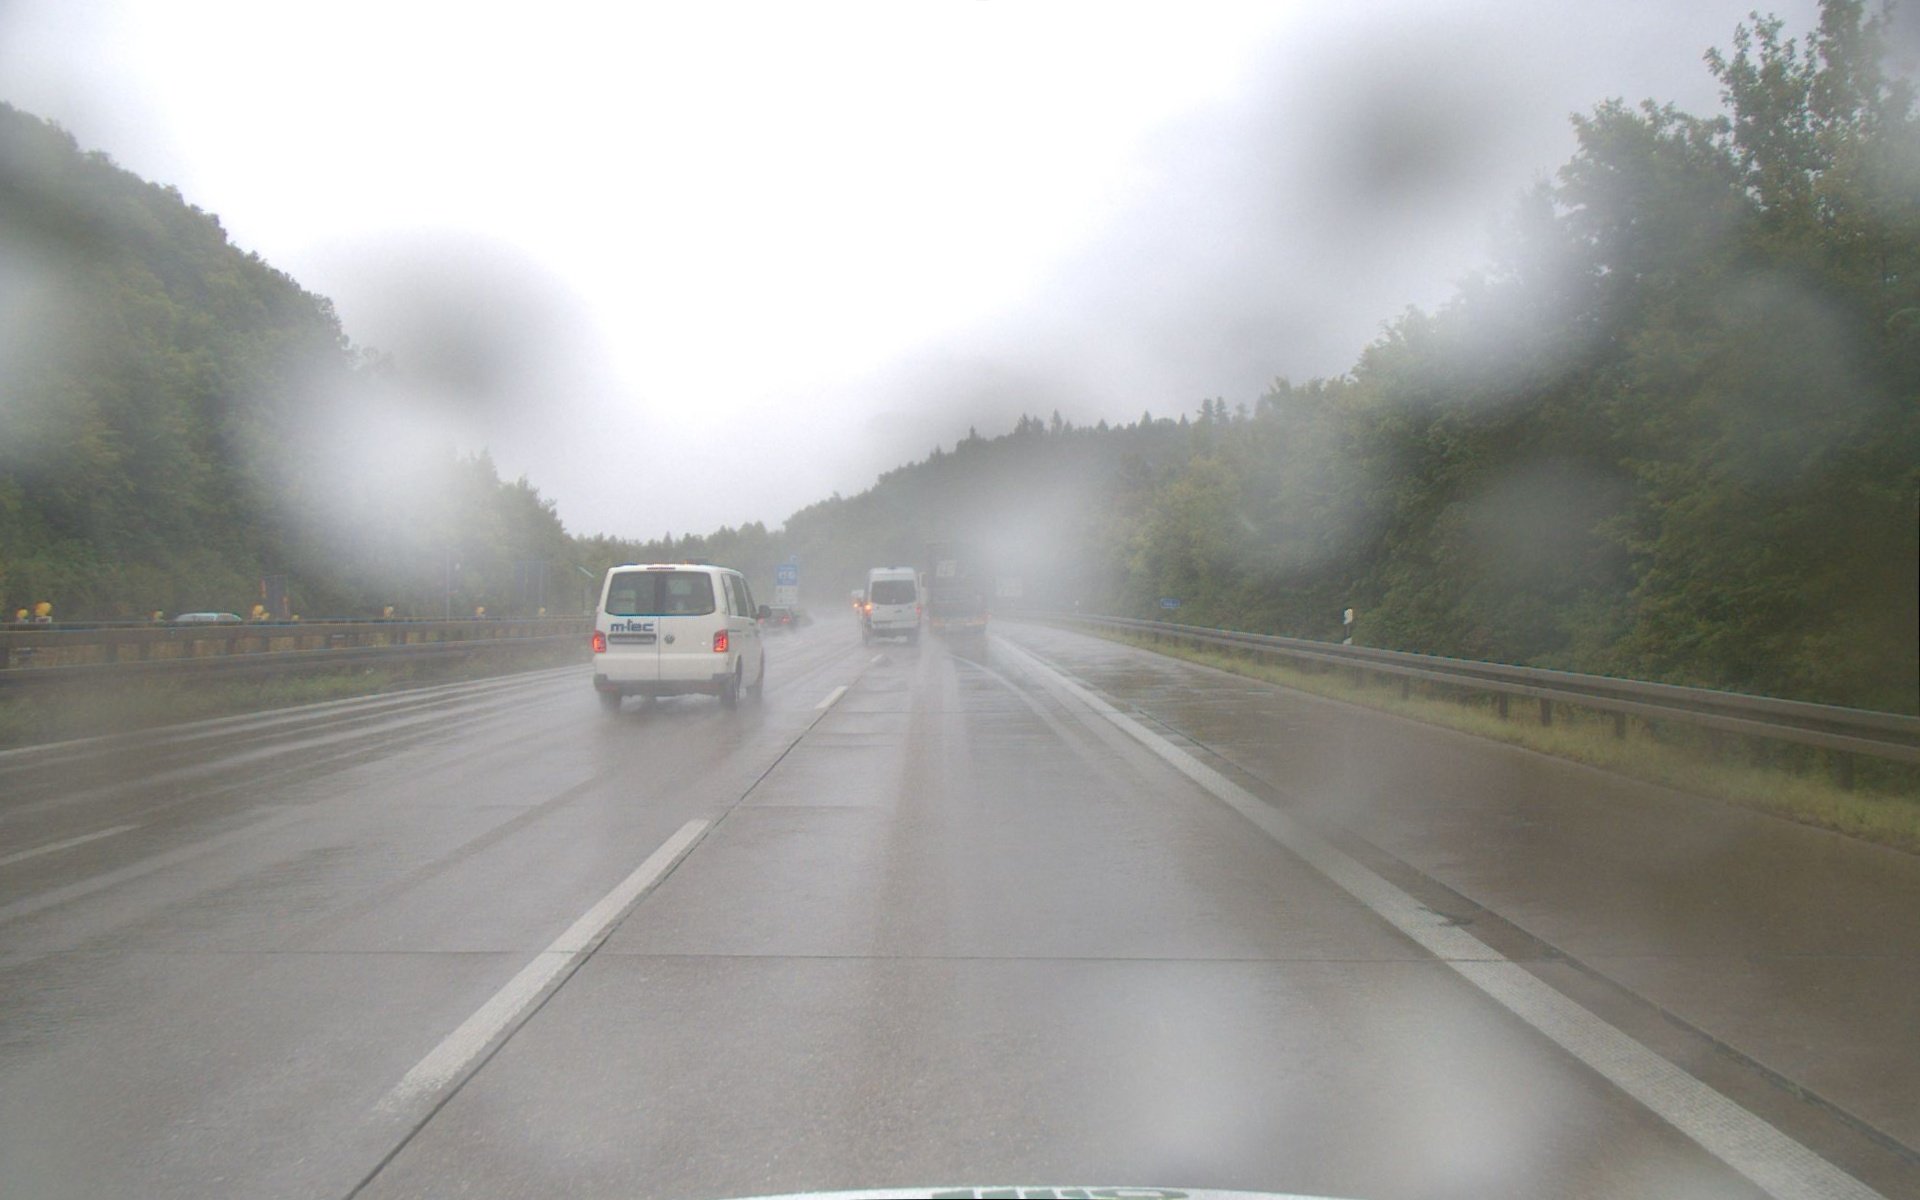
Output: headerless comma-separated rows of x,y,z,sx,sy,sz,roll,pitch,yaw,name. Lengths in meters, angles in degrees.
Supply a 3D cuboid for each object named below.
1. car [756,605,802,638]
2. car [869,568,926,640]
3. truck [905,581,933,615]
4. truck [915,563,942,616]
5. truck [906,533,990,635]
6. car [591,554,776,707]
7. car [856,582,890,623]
-7.942,0.929,72.811,1.706,1.412,4.319,0,-1,-3,car
-2.262,0.142,59.492,1.861,2.374,5.248,2,0,-2,car
-4.114,-0.197,163.794,1.956,3.225,6.721,-1,0,-8,truck
-2.412,-0.791,126.251,1.953,3.872,6.732,-1,0,-1,truck
-0.604,-0.798,73.114,3.317,4.036,8.665,-3,2,-1,truck
-3.783,0.392,23.480,1.861,1.927,5.041,0,0,-1,car
-5.458,0.152,103.884,1.958,2.474,5.788,2,0,-2,car
